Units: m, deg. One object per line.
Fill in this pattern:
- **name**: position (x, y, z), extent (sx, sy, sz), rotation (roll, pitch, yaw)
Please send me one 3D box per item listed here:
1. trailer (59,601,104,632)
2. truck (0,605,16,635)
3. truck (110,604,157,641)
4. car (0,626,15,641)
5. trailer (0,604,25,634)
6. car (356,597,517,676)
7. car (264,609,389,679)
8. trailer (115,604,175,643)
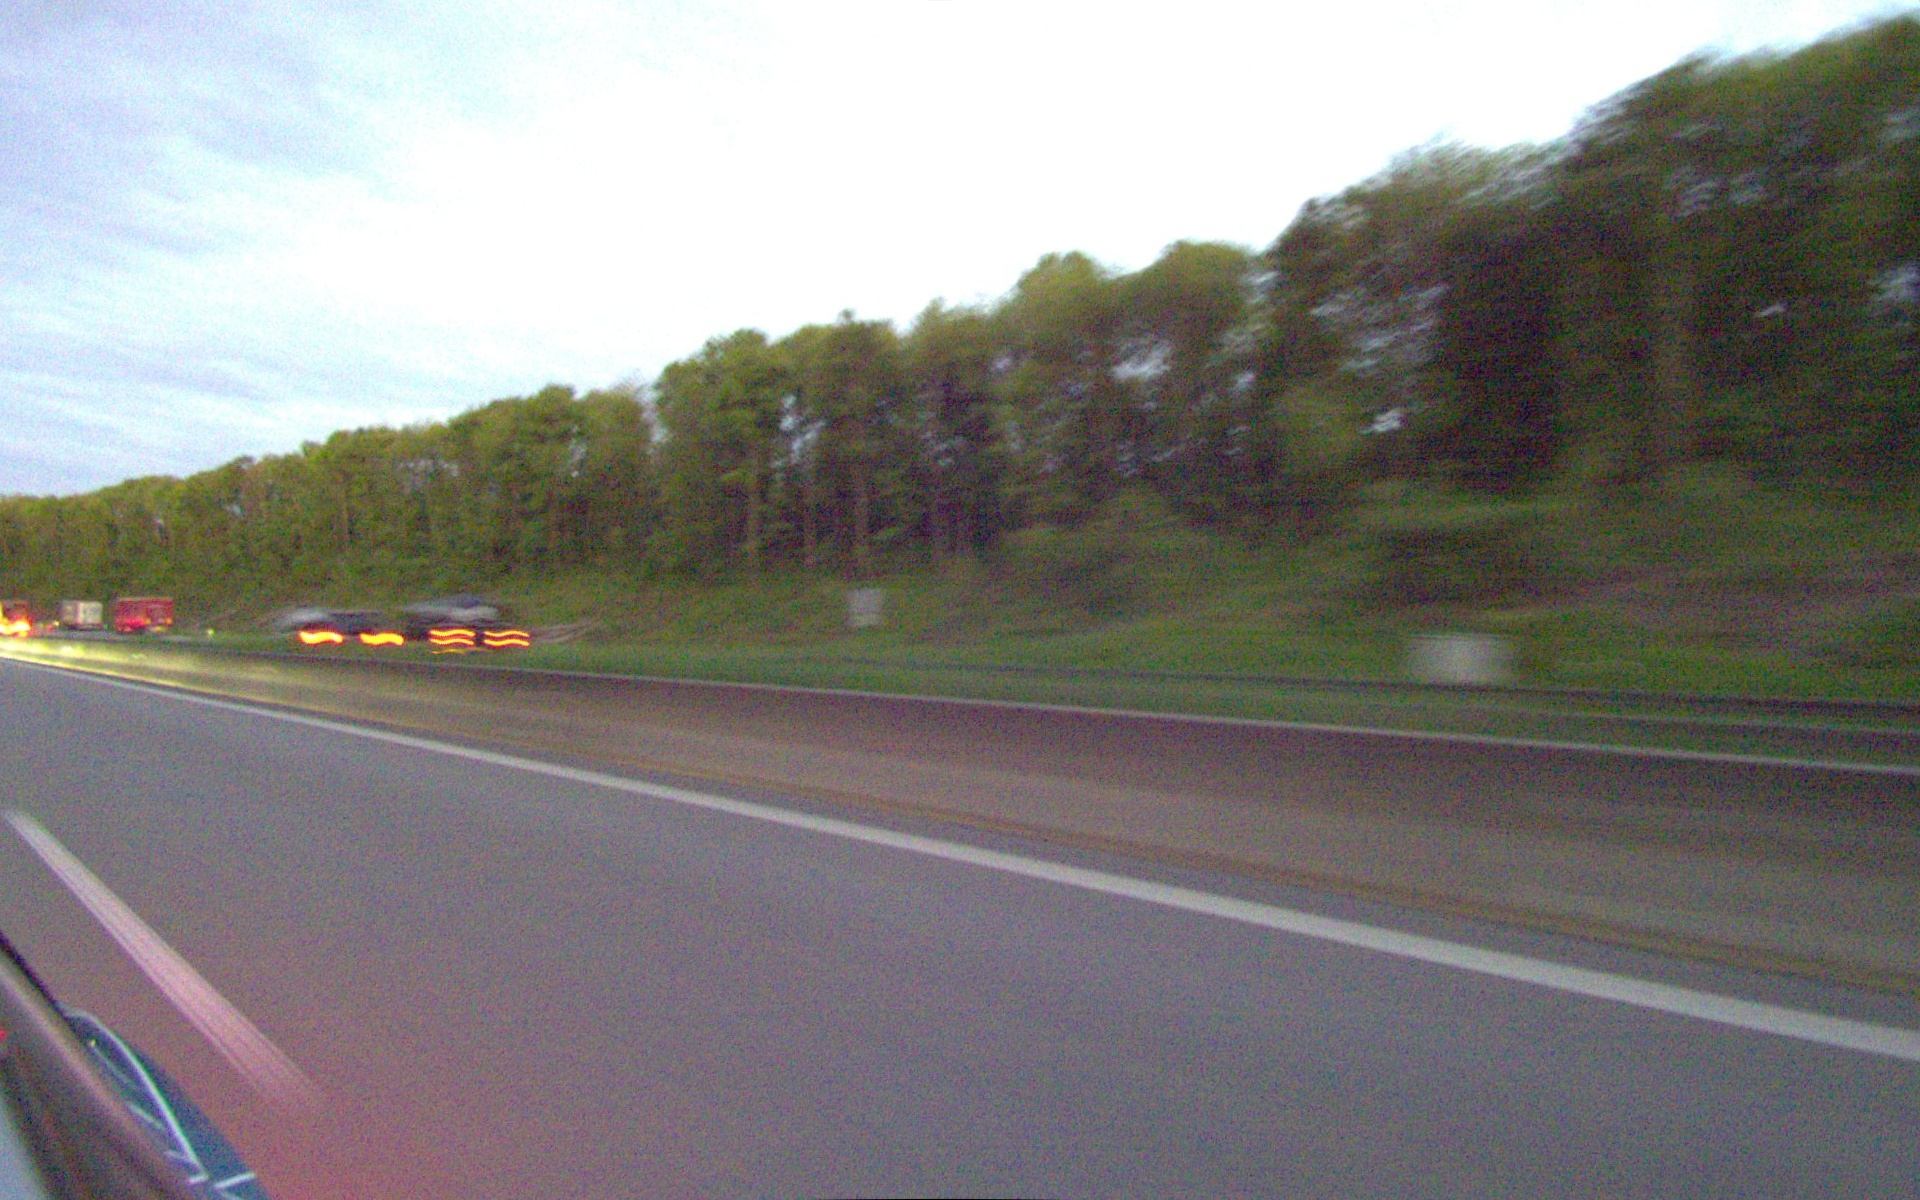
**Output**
- **trailer**: position (-122.577, 2.300, 141.104), extent (13.736, 4.136, 3.157), rotation (0, 0, 42)
- **truck**: position (-133.634, 2.796, 140.793), extent (7.118, 4.002, 2.619), rotation (-1, -2, 41)
- **truck**: position (-96.619, 2.596, 118.278), extent (7.688, 4.136, 3.157), rotation (0, 0, 42)
- **car**: position (-103.196, 3.623, 108.804), extent (4.652, 1.587, 1.861), rotation (-1, -2, 41)
- **trailer**: position (-127.165, 2.580, 135.028), extent (10.182, 3.960, 2.619), rotation (-1, -2, 42)
- **car**: position (-18.441, 1.265, 35.403), extent (7.513, 2.503, 2.289), rotation (-1, -2, 40)
- **car**: position (-19.999, 1.350, 31.853), extent (5.358, 2.029, 1.972), rotation (-2, -3, 42)
- **trailer**: position (-92.045, 2.538, 114.174), extent (14.181, 4.136, 3.157), rotation (0, 0, 42)
